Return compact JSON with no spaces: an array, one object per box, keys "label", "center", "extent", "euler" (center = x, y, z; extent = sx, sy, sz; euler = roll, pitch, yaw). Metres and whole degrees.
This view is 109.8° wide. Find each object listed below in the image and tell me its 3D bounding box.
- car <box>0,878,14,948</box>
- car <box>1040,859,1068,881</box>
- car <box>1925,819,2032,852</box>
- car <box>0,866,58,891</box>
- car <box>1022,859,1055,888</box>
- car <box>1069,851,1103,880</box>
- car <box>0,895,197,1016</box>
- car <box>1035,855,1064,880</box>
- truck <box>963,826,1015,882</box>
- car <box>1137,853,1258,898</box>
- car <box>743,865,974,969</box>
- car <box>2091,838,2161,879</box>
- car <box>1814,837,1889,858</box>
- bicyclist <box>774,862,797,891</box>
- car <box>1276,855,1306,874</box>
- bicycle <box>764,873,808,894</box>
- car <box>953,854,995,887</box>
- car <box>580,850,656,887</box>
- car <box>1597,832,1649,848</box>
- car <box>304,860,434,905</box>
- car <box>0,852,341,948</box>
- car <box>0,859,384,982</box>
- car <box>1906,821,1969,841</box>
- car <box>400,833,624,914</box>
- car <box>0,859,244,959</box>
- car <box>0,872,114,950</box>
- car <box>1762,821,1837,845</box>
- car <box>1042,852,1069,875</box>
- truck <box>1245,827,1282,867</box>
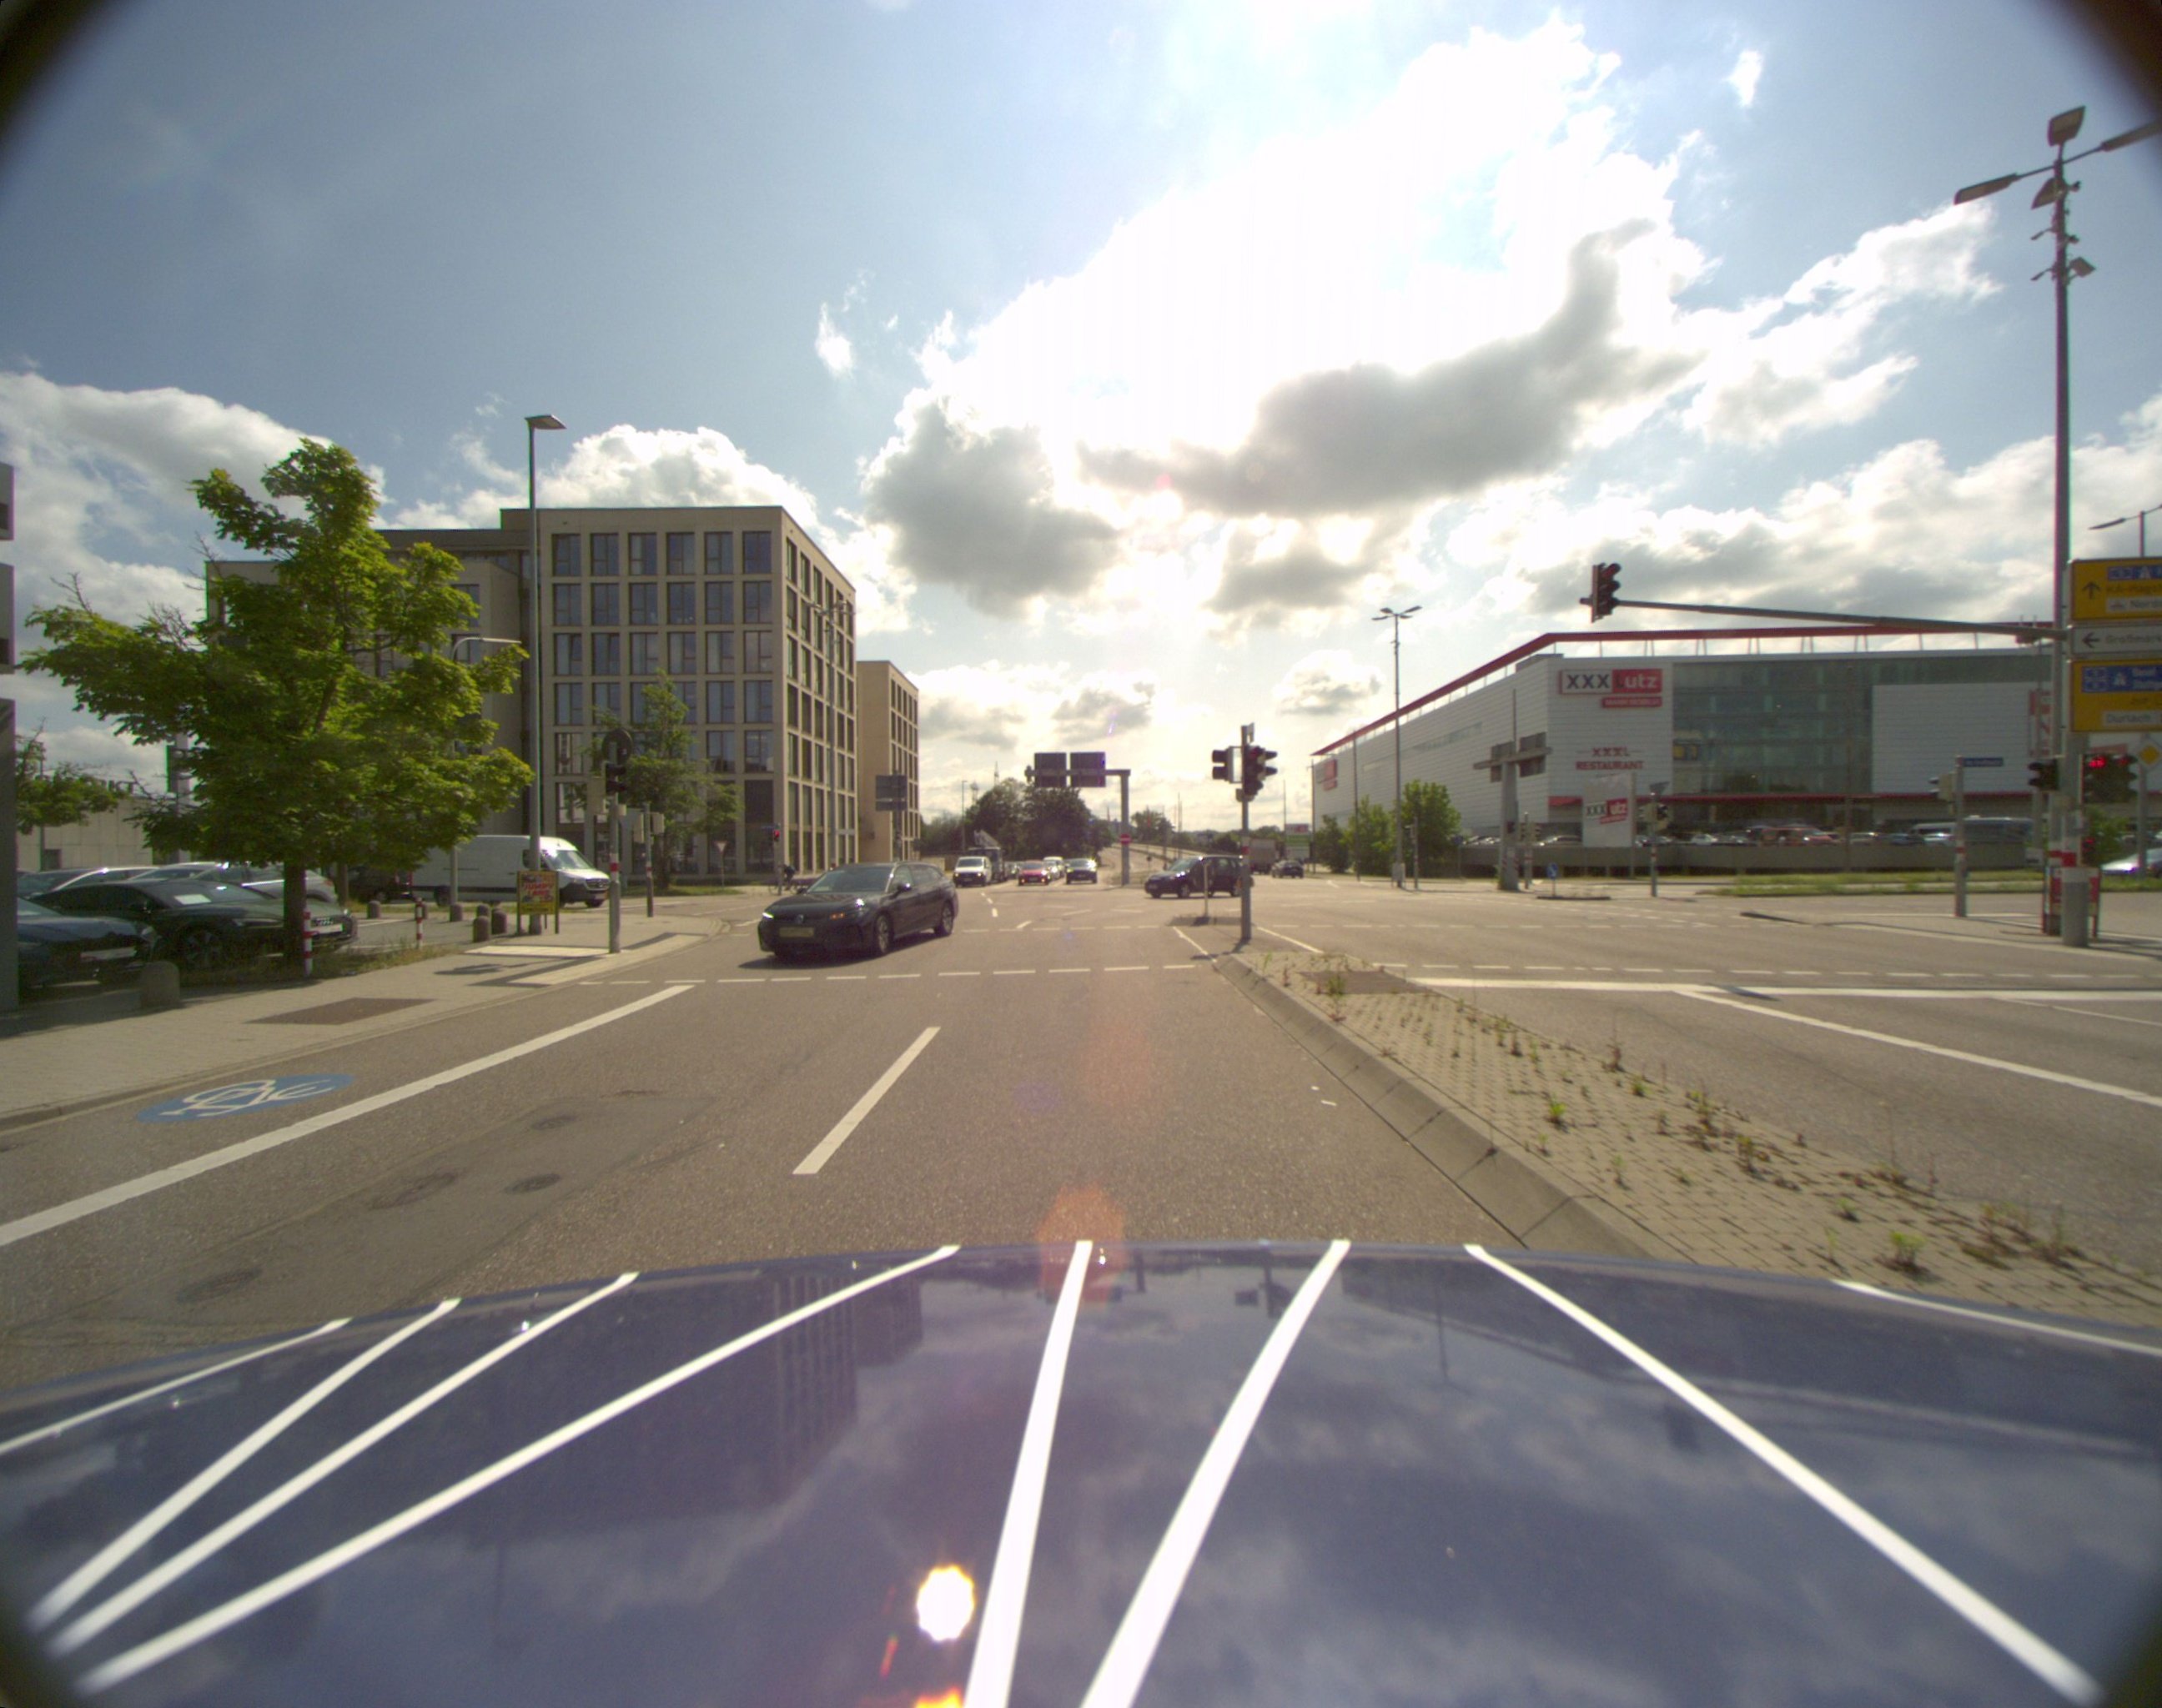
[{"label":"car","center":[-26.600,1.375,15.934],"extent":[1.905,1.667,4.592],"euler":[-2,-1,2]},{"label":"car","center":[-2.050,1.221,58.295],"extent":[1.826,1.616,4.213],"euler":[-2,-1,2]},{"label":"car","center":[71.781,-1.439,60.935],"extent":[1.748,2.269,5.801],"euler":[-2,-1,1]},{"label":"car","center":[-77.010,1.760,54.713],"extent":[3.997,1.673,2.000],"euler":[-2,-1,0]},{"label":"car","center":[-2.515,1.204,45.871],"extent":[1.827,1.616,4.212],"euler":[-2,-1,-2]},{"label":"car","center":[0.260,0.726,46.270],"extent":[1.827,1.616,4.212],"euler":[-2,-1,-2]},{"label":"car","center":[-14.325,1.248,9.385],"extent":[4.586,1.289,1.908],"euler":[-2,-1,0]},{"label":"car","center":[-2.099,0.942,51.858],"extent":[1.827,1.616,4.212],"euler":[-2,-1,-1]},{"label":"truck","center":[-6.411,0.140,54.315],"extent":[2.673,3.533,9.784],"euler":[-2,-1,-2]},{"label":"car","center":[4.220,0.775,27.305],"extent":[4.277,1.521,1.604],"euler":[2,-1,-31]},{"label":"car","center":[-3.597,0.952,13.525],"extent":[1.811,1.469,5.208],"euler":[-1,-1,10]},{"label":"car","center":[42.320,0.146,29.323],"extent":[4.265,1.521,1.608],"euler":[-1,0,4]},{"label":"car","center":[64.602,-0.516,63.849],"extent":[1.953,1.596,4.425],"euler":[-1,-1,4]},{"label":"bicyclist","center":[-15.173,1.144,39.002],"extent":[0.915,1.468,0.638],"euler":[-2,-1,-2]},{"label":"car","center":[17.406,0.882,63.216],"extent":[1.777,1.469,4.682],"euler":[-1,-1,8]},{"label":"bicycle","center":[-15.131,1.530,38.991],"extent":[1.977,1.005,0.649],"euler":[-2,-1,-2]},{"label":"car","center":[-6.494,1.019,46.752],"extent":[1.999,1.826,4.993],"euler":[-2,-1,-2]},{"label":"car","center":[-26.367,0.844,43.456],"extent":[1.999,2.001,4.000],"euler":[-2,-1,-3]},{"label":"car","center":[53.171,-1.342,74.636],"extent":[1.953,1.462,4.424],"euler":[-1,-1,1]},{"label":"car","center":[-31.898,1.271,34.118],"extent":[3.998,1.893,1.829],"euler":[-1,-1,-2]},{"label":"car","center":[-18.561,0.878,15.717],"extent":[1.905,1.667,4.592],"euler":[-2,-1,2]},{"label":"car","center":[-14.179,1.002,11.993],"extent":[4.586,1.668,1.908],"euler":[-2,-1,0]},{"label":"car","center":[86.488,-2.312,76.823],"extent":[1.914,1.739,4.002],"euler":[-2,-1,4]},{"label":"car","center":[-20.405,0.726,27.344],"extent":[6.854,2.591,2.141],"euler":[-2,-1,7]},{"label":"car","center":[-21.314,1.093,16.063],"extent":[1.905,1.669,4.588],"euler":[-2,3,2]},{"label":"car","center":[-24.141,1.243,15.889],"extent":[1.905,1.667,4.592],"euler":[-2,-1,2]},{"label":"car","center":[59.696,-1.737,63.245],"extent":[1.916,1.739,4.186],"euler":[-1,-1,-9]},{"label":"car","center":[-2.095,0.852,64.549],"extent":[1.826,1.826,4.448],"euler":[-2,-1,3]},{"label":"truck","center":[19.875,-0.618,83.036],"extent":[3.218,4.002,9.079],"euler":[-2,-1,10]}]
